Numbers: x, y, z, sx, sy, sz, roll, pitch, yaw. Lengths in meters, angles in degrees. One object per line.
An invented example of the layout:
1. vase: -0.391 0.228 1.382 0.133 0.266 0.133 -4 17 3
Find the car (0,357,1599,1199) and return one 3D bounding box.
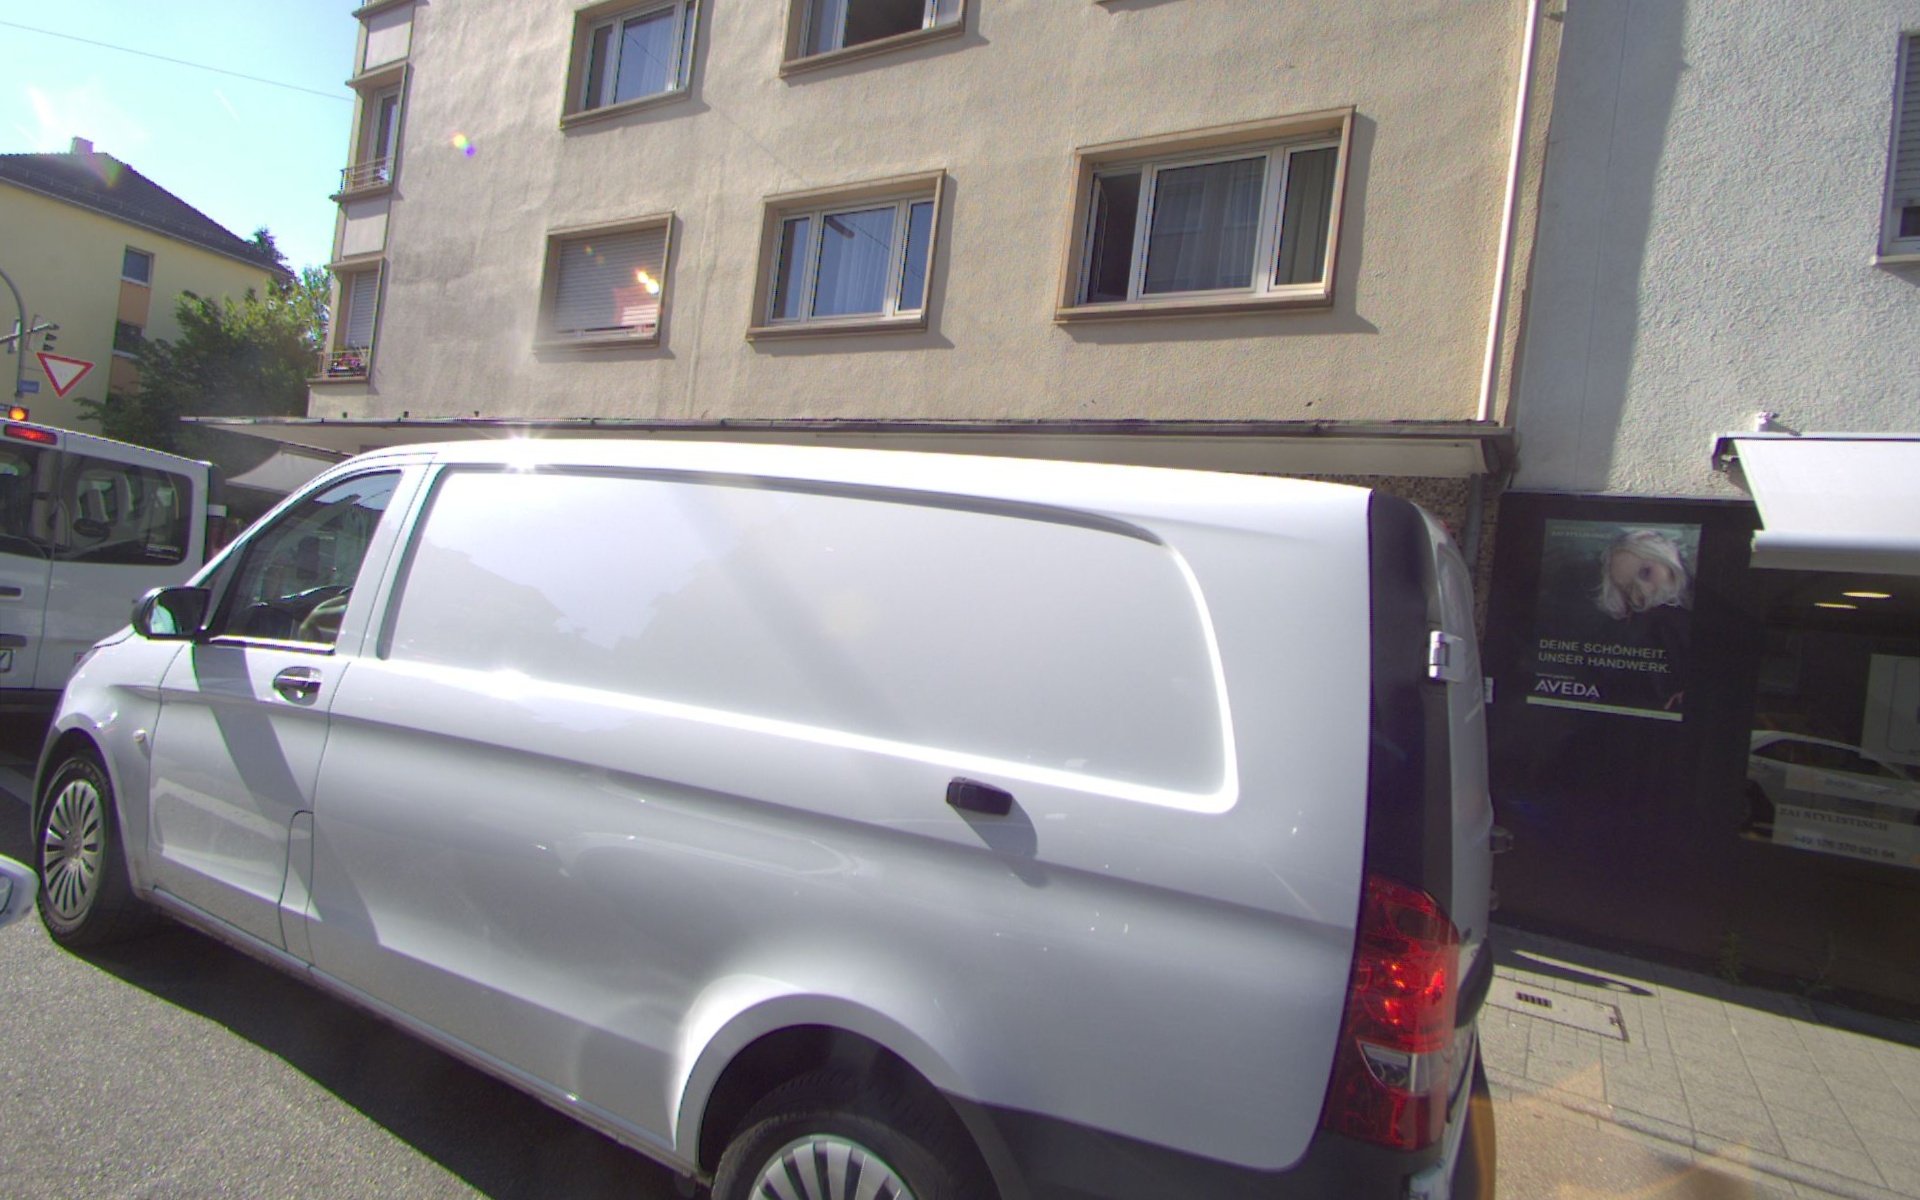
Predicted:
1. car: -0.998 0.458 3.288 4.910 1.891 1.841 7 -1 29

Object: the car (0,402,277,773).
1. car: -7.125 -0.261 6.910 4.813 2.001 1.999 7 -3 31
